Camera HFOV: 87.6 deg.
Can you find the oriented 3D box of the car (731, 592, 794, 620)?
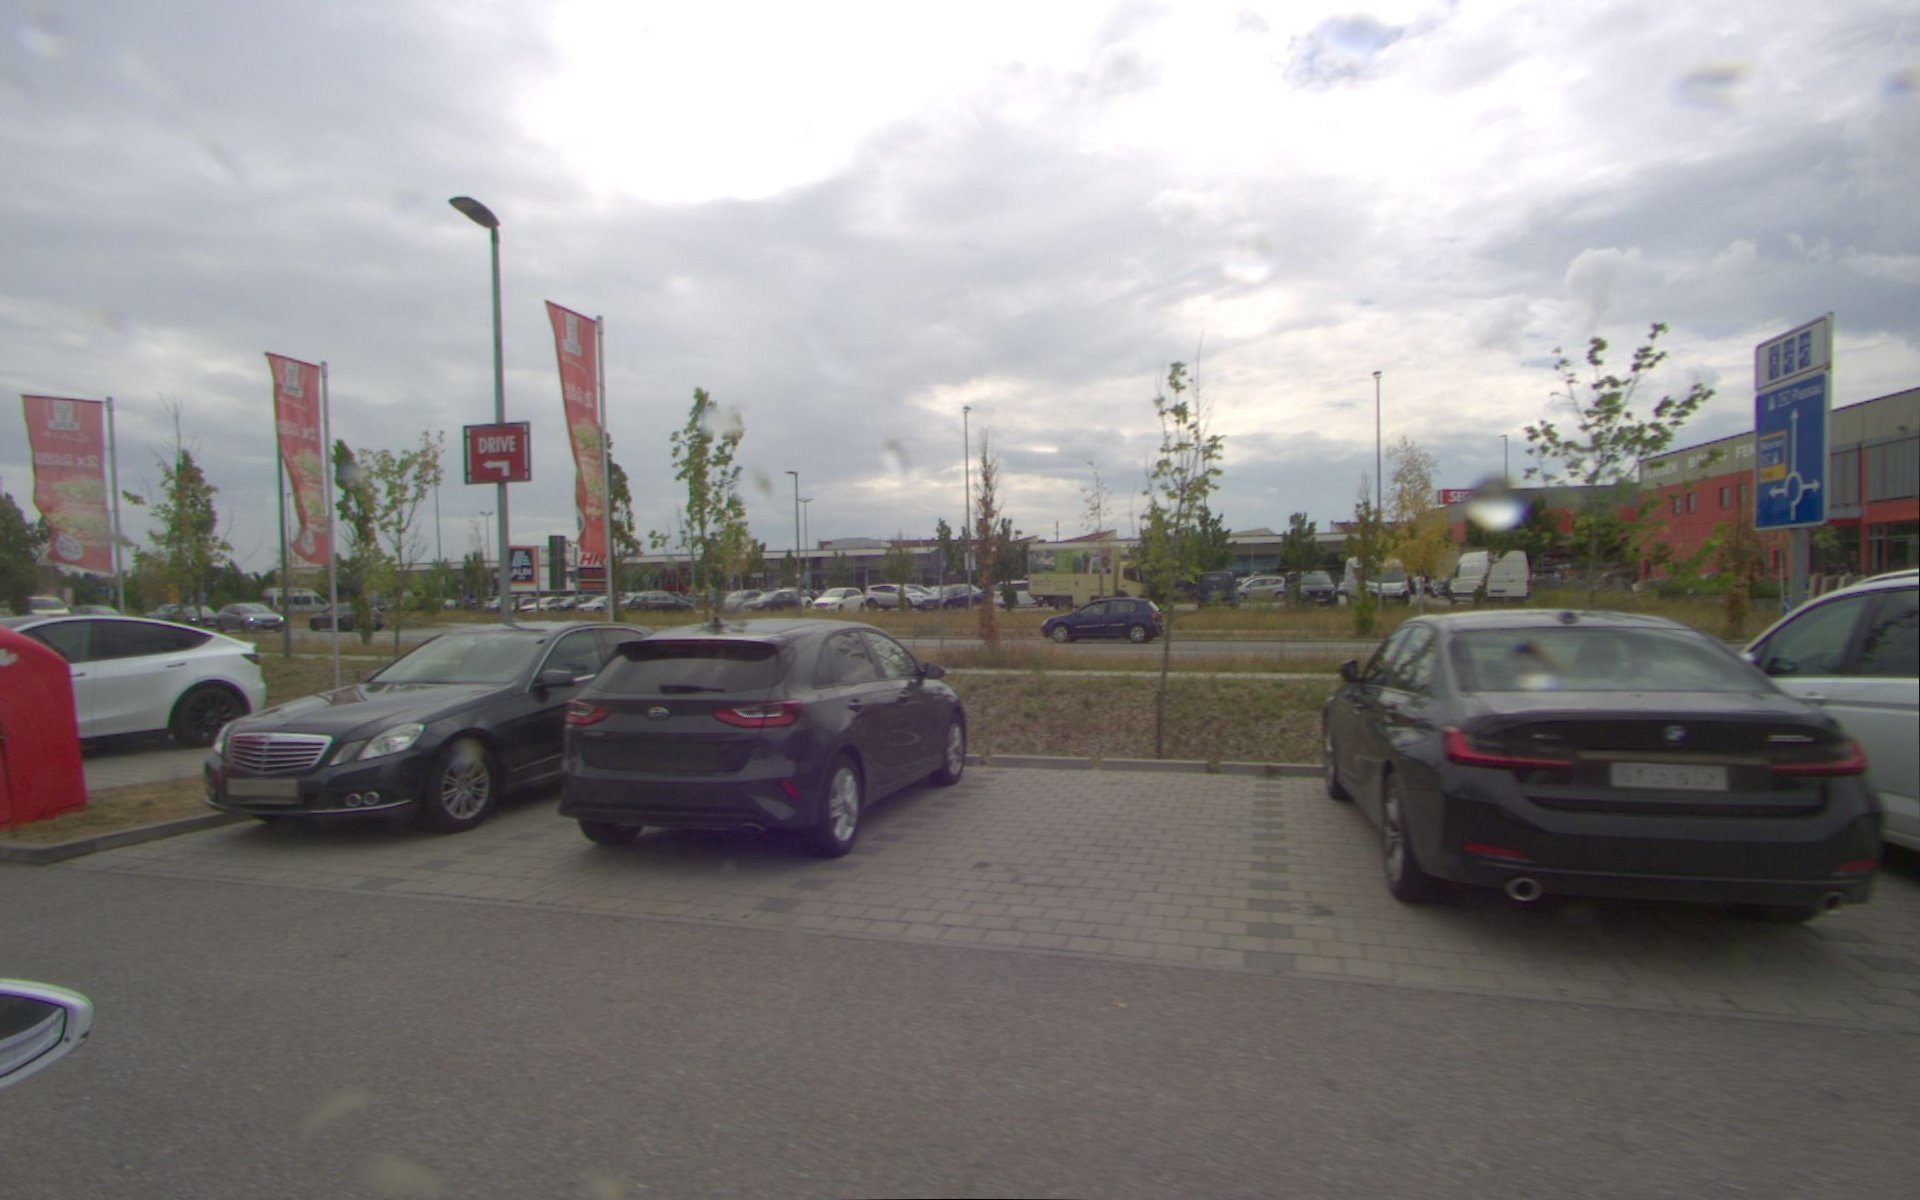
[{"bbox_3d":[-12.215,0.333,62.222,1.743,1.561,4.039,0,2,25],"label":"car"}]

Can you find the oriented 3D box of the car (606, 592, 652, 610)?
[{"bbox_3d":[-34.723,0.116,105.170,4.110,1.863,1.996,0,2,16],"label":"car"}]

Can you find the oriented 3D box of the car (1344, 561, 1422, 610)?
[{"bbox_3d":[20.415,-0.751,48.663,2.371,2.245,6.051,0,2,12],"label":"car"}]

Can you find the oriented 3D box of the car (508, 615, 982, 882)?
[{"bbox_3d":[-1.224,0.854,7.586,1.854,1.430,4.067,0,-1,15],"label":"car"}]

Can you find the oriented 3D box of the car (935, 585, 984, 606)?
[{"bbox_3d":[-0.037,-0.438,93.425,4.109,1.863,1.996,-1,2,15],"label":"car"}]

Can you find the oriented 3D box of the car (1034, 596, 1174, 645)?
[{"bbox_3d":[4.804,0.679,33.355,4.342,1.506,1.926,-1,2,18],"label":"car"}]

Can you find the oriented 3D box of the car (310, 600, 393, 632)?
[{"bbox_3d":[-31.945,0.825,52.564,4.786,1.573,1.791,0,2,33],"label":"car"}]

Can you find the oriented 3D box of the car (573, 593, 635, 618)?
[{"bbox_3d":[-25.190,0.381,71.001,1.966,1.561,4.042,-1,2,22],"label":"car"}]

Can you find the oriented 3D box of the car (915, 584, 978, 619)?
[{"bbox_3d":[-0.706,0.068,56.310,1.900,1.796,4.305,0,2,25],"label":"car"}]

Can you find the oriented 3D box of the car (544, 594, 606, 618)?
[{"bbox_3d":[-27.772,0.403,72.370,1.966,1.561,4.042,-1,2,22],"label":"car"}]

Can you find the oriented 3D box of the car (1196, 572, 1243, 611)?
[{"bbox_3d":[13.296,-0.425,51.087,2.040,1.910,5.061,0,0,18],"label":"car"}]

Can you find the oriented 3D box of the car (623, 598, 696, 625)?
[{"bbox_3d":[-19.181,0.714,64.115,1.973,1.561,4.133,0,2,34],"label":"car"}]

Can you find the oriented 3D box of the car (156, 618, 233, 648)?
[{"bbox_3d":[-41.408,1.748,54.149,4.220,1.519,1.848,0,1,30],"label":"car"}]

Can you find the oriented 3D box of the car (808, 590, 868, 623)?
[{"bbox_3d":[-7.218,0.356,59.881,1.964,1.796,4.312,-1,2,17],"label":"car"}]

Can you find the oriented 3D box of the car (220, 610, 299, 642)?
[{"bbox_3d":[-35.438,1.285,50.645,3.942,1.480,1.820,0,2,32],"label":"car"}]

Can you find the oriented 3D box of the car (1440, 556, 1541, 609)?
[{"bbox_3d":[24.964,-0.866,47.433,2.301,2.299,6.499,-1,2,10],"label":"car"}]

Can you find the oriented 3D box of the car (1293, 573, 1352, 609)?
[{"bbox_3d":[17.707,-0.477,49.167,2.039,1.661,5.063,0,2,12],"label":"car"}]

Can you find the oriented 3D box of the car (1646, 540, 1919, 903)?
[{"bbox_3d":[5.757,0.601,5.422,1.955,1.735,4.369,0,-1,14],"label":"car"}]

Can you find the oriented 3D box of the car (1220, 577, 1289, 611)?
[{"bbox_3d":[18.965,-0.405,64.560,3.922,2.041,1.998,-1,2,5],"label":"car"}]

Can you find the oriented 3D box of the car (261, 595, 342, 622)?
[{"bbox_3d":[-58.786,0.696,89.457,2.306,2.151,5.566,0,2,31],"label":"car"}]

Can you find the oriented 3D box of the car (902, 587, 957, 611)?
[{"bbox_3d":[-2.483,-0.083,82.334,4.109,1.863,1.996,-1,2,15],"label":"car"}]

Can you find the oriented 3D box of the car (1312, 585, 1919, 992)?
[{"bbox_3d":[3.351,0.750,6.029,1.911,1.485,4.513,0,-1,14],"label":"car"}]

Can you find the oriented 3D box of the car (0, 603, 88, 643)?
[{"bbox_3d":[-51.771,1.240,56.527,5.146,2.115,1.992,0,1,27],"label":"car"}]

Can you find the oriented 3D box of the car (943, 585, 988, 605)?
[{"bbox_3d":[0.565,-0.513,98.599,4.109,1.863,1.996,-1,2,15],"label":"car"}]

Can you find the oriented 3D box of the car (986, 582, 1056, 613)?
[{"bbox_3d":[3.808,-0.150,62.637,3.926,1.796,1.997,-2,2,-13],"label":"car"}]

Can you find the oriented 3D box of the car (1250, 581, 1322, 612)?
[{"bbox_3d":[19.496,-0.235,60.073,3.925,1.762,1.888,-1,2,12],"label":"car"}]

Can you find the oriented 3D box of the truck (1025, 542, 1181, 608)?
[{"bbox_3d":[7.438,-1.284,53.209,2.994,3.240,8.360,-3,2,-40],"label":"truck"}]

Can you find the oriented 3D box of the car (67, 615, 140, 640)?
[{"bbox_3d":[-50.511,1.584,59.046,4.151,1.413,1.762,0,1,26],"label":"car"}]

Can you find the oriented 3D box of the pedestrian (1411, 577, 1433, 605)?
[{"bbox_3d":[24.796,-0.473,53.753,0.960,1.449,0.786,-1,2,14],"label":"pedestrian"}]

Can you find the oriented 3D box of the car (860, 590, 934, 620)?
[{"bbox_3d":[-3.972,0.345,63.276,4.252,1.796,1.913,0,2,27],"label":"car"}]

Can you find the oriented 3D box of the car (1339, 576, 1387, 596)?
[{"bbox_3d":[37.258,-1.323,92.681,3.927,1.760,1.931,-1,2,15],"label":"car"}]

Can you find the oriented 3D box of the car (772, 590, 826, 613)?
[{"bbox_3d":[-13.991,0.135,87.033,4.109,1.863,1.996,-1,2,15],"label":"car"}]

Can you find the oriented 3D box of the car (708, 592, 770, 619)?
[{"bbox_3d":[-14.035,0.335,63.701,1.743,1.561,4.039,0,2,25],"label":"car"}]

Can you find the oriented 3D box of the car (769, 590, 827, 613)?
[{"bbox_3d":[-11.970,0.084,74.060,1.972,1.561,4.135,0,2,33],"label":"car"}]

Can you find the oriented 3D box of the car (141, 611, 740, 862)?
[{"bbox_3d":[-3.905,0.875,8.694,1.877,1.476,4.735,0,0,16],"label":"car"}]

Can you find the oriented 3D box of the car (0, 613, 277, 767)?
[{"bbox_3d":[-10.434,0.932,11.043,1.892,1.561,4.537,0,-1,21],"label":"car"}]

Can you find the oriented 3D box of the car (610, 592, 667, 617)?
[{"bbox_3d":[-22.148,0.317,69.075,1.742,1.561,3.752,0,2,22],"label":"car"}]

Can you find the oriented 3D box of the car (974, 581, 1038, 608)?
[{"bbox_3d":[3.281,-0.383,70.783,4.240,1.796,1.997,-1,2,13],"label":"car"}]

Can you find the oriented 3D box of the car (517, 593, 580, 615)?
[{"bbox_3d":[-30.561,0.274,74.469,1.835,1.522,4.057,0,2,26],"label":"car"}]

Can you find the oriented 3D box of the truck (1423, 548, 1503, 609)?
[{"bbox_3d":[33.536,-1.476,67.079,2.606,3.795,8.246,-1,2,11],"label":"truck"}]
